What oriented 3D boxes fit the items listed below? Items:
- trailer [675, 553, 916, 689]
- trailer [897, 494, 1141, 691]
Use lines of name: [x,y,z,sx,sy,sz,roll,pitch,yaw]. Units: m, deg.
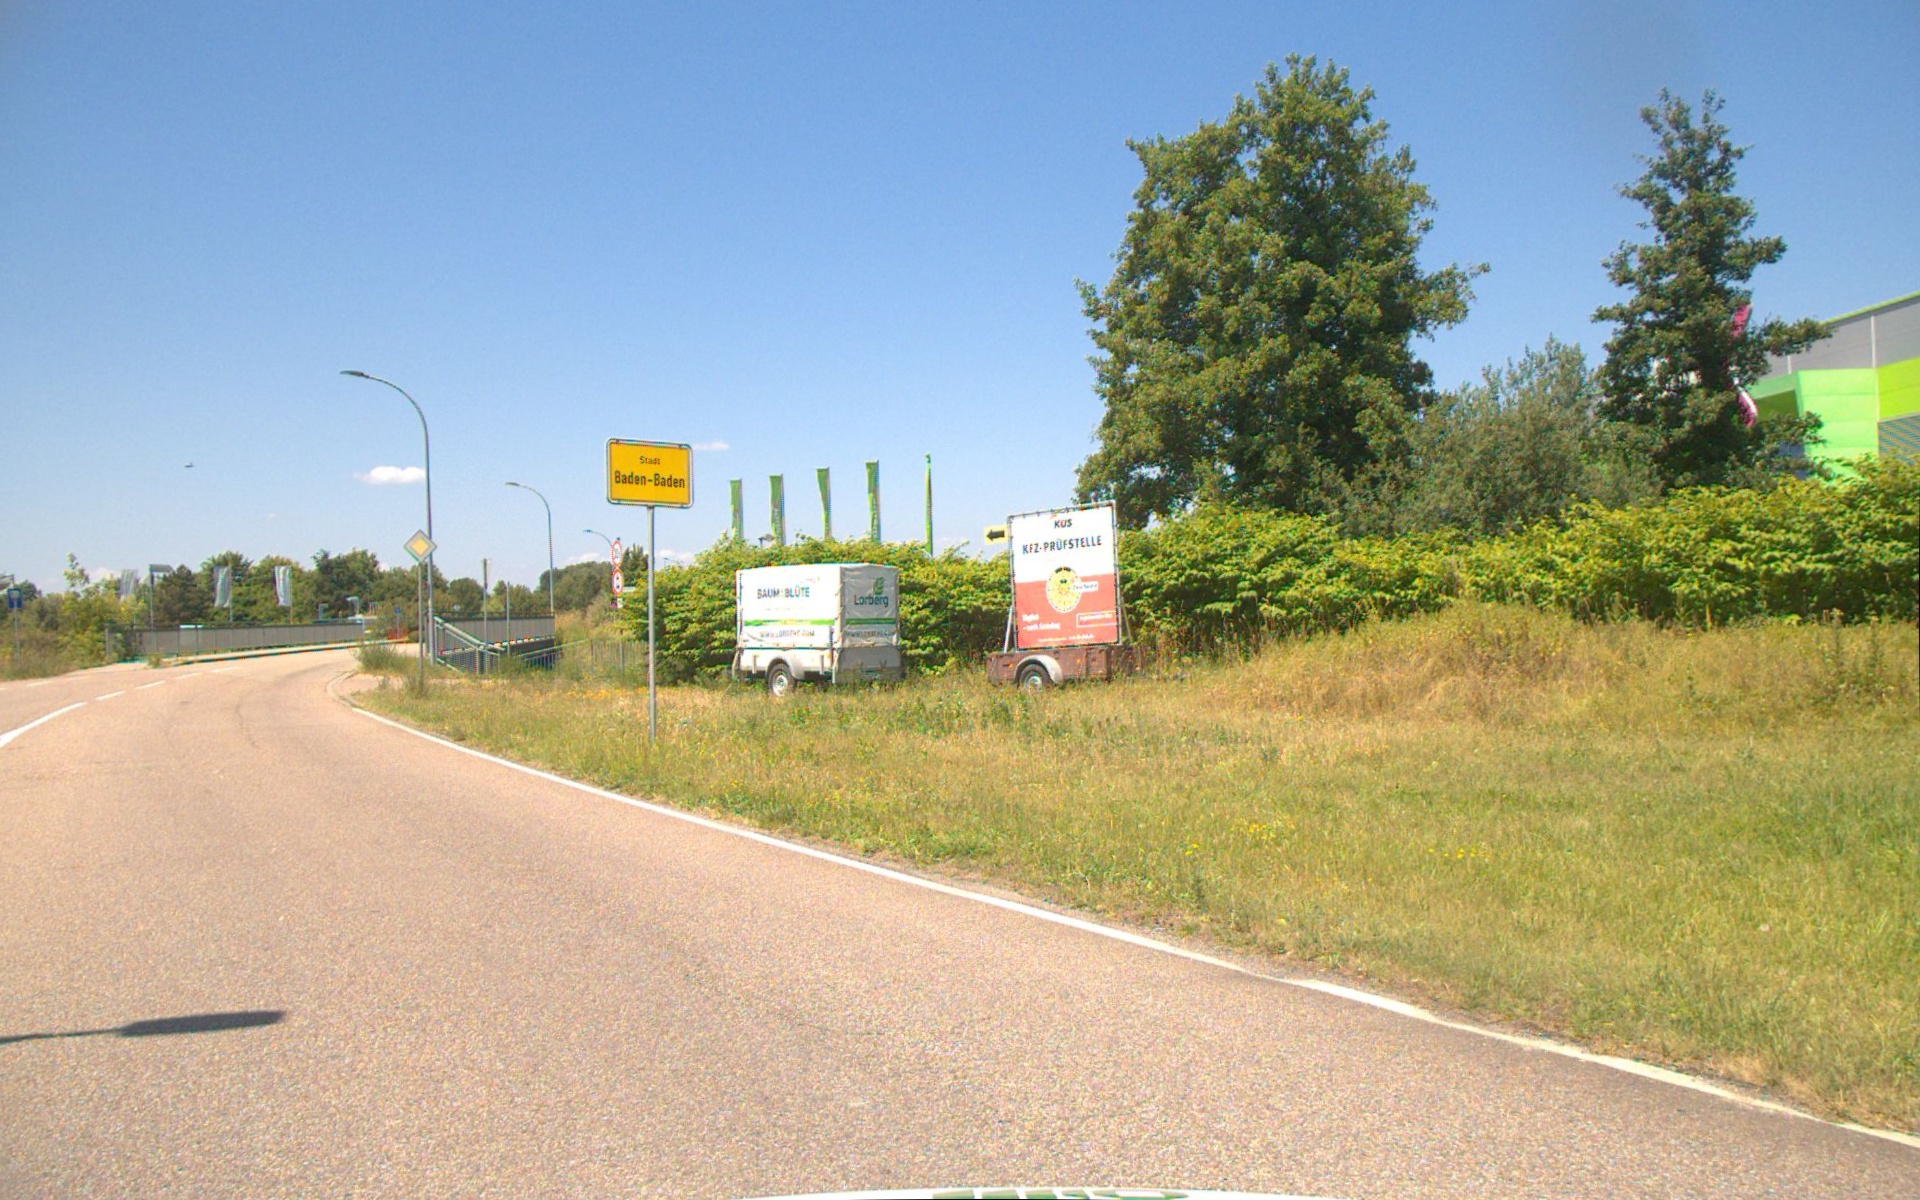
trailer: [-2.807,0.384,27.743,3.897,2.114,1.841,-3,-1,41]
trailer: [0.852,-0.067,24.496,3.090,2.717,1.841,-3,-1,41]
